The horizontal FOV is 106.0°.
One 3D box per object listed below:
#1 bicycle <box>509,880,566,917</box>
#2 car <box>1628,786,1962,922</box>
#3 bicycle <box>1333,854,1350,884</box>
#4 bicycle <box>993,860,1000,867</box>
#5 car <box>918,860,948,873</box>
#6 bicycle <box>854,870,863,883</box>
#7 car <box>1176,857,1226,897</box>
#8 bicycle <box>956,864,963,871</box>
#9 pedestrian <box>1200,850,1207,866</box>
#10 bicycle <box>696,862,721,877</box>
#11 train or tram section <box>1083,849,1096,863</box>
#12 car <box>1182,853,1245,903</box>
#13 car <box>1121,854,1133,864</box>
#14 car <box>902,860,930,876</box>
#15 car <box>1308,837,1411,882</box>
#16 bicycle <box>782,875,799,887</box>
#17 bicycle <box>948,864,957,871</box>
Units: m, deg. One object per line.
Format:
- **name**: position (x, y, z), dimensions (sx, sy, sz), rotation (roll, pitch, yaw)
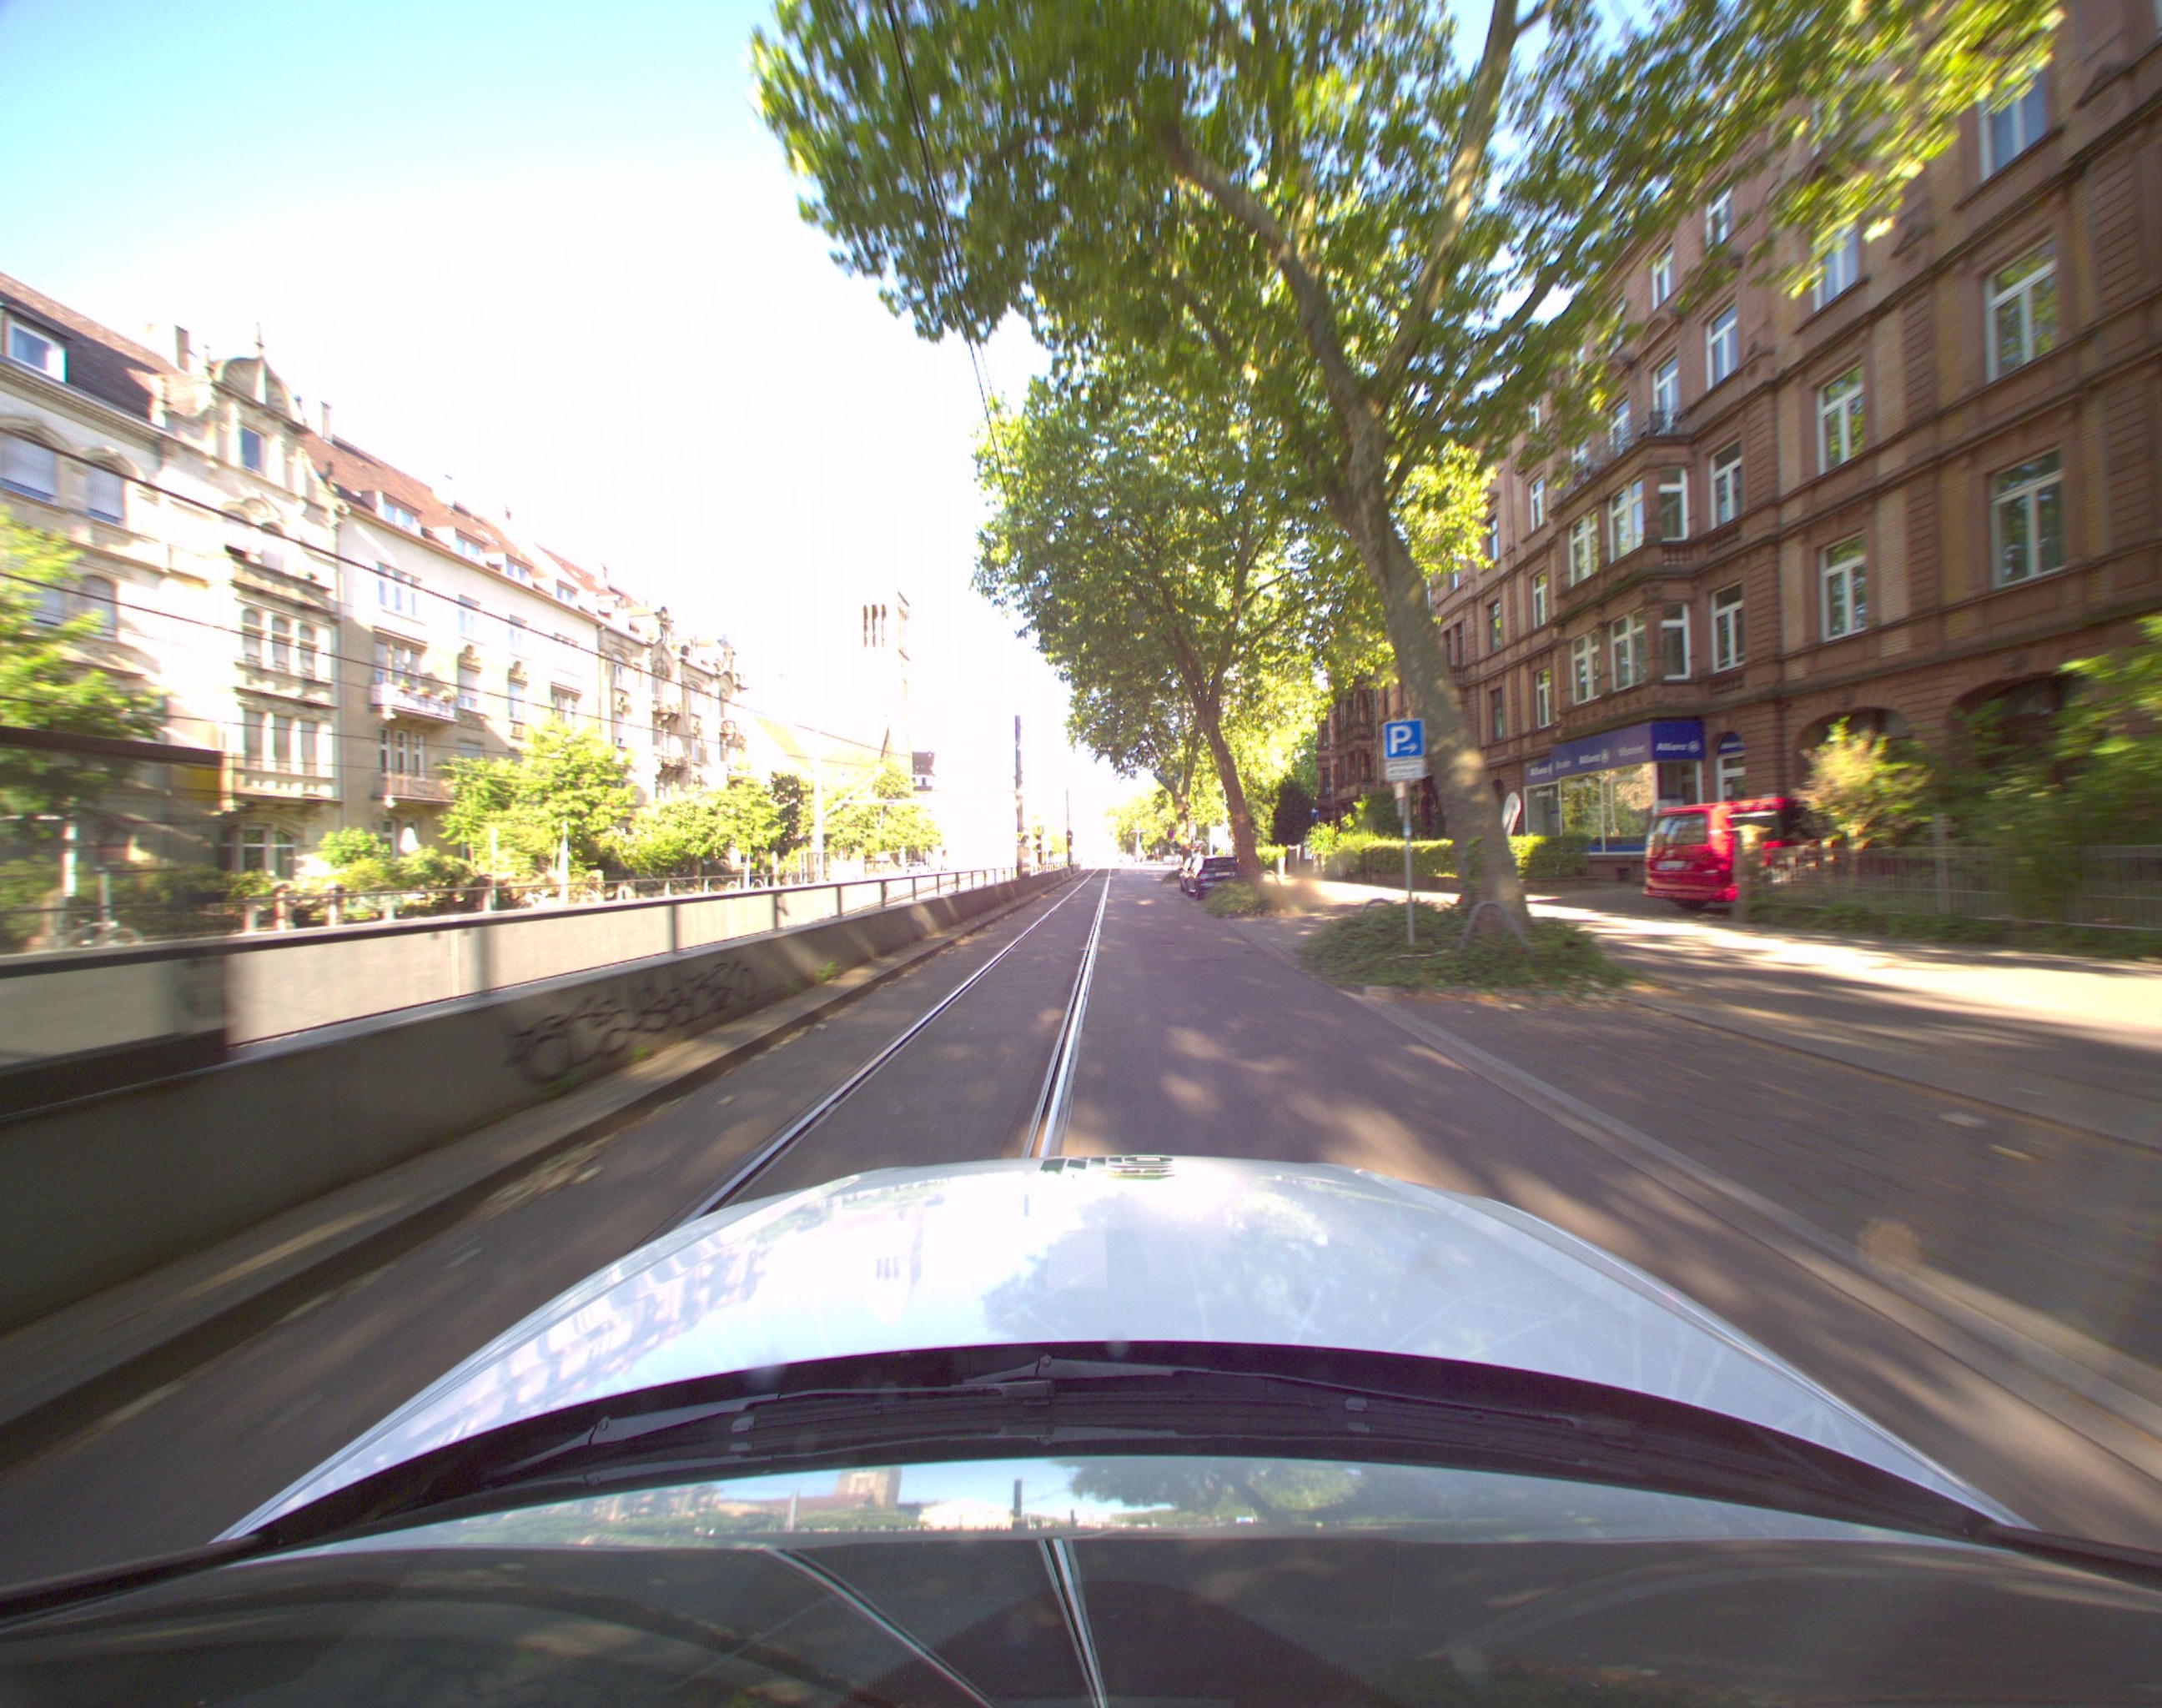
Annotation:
- **bicycle**: position (-19.717, 1.605, 29.542), dimensions (1.721, 1.280, 0.601), rotation (-1, -1, 8)
- **car**: position (12.629, 0.011, 14.641), dimensions (4.162, 2.013, 2.000), rotation (-4, -1, 0)
- **bicycle**: position (11.263, 0.627, 35.250), dimensions (0.336, 1.250, 1.770), rotation (1, 0, 6)
- **bicycle**: position (-14.608, 1.648, 141.045), dimensions (0.628, 1.144, 2.285), rotation (-3, -1, 9)
- **car**: position (-22.273, 1.895, 122.514), dimensions (3.968, 1.756, 1.897), rotation (1, 0, 4)
- **bicycle**: position (-18.195, 1.849, 66.474), dimensions (0.487, 1.022, 1.879), rotation (1, 0, -21)
- **car**: position (4.939, 0.911, 33.838), dimensions (1.546, 1.499, 4.051), rotation (-2, -1, 2)
- **bicycle**: position (-23.279, 2.590, 155.943), dimensions (0.823, 1.283, 2.550), rotation (1, 0, -16)
- **pedestrian**: position (13.624, 0.415, 90.381), dimensions (0.600, 1.776, 0.691), rotation (-5, -1, 6)
- **bicycle**: position (-25.405, 1.051, 55.509), dimensions (0.502, 1.018, 2.115), rotation (1, 0, 6)
- **train or tram section**: position (2.210, 0.533, 210.891), dimensions (2.940, 3.410, 10.798), rotation (1, 0, 3)
- **car**: position (4.733, 0.826, 29.582), dimensions (1.610, 1.587, 4.418), rotation (-2, -1, 2)
- **car**: position (7.226, 0.740, 127.381), dimensions (1.739, 1.462, 3.645), rotation (1, 0, 1)
- **car**: position (-17.538, 1.449, 86.499), dimensions (1.708, 1.555, 4.515), rotation (1, 0, 4)
- **car**: position (14.141, 0.302, 41.529), dimensions (4.555, 2.014, 1.915), rotation (-3, -1, 1)
- **bicycle**: position (-21.690, 2.028, 60.760), dimensions (0.414, 0.800, 1.890), rotation (1, 0, 5)
- **bicycle**: position (-24.620, 2.562, 155.651), dimensions (0.826, 1.283, 2.541), rotation (1, 0, -28)
